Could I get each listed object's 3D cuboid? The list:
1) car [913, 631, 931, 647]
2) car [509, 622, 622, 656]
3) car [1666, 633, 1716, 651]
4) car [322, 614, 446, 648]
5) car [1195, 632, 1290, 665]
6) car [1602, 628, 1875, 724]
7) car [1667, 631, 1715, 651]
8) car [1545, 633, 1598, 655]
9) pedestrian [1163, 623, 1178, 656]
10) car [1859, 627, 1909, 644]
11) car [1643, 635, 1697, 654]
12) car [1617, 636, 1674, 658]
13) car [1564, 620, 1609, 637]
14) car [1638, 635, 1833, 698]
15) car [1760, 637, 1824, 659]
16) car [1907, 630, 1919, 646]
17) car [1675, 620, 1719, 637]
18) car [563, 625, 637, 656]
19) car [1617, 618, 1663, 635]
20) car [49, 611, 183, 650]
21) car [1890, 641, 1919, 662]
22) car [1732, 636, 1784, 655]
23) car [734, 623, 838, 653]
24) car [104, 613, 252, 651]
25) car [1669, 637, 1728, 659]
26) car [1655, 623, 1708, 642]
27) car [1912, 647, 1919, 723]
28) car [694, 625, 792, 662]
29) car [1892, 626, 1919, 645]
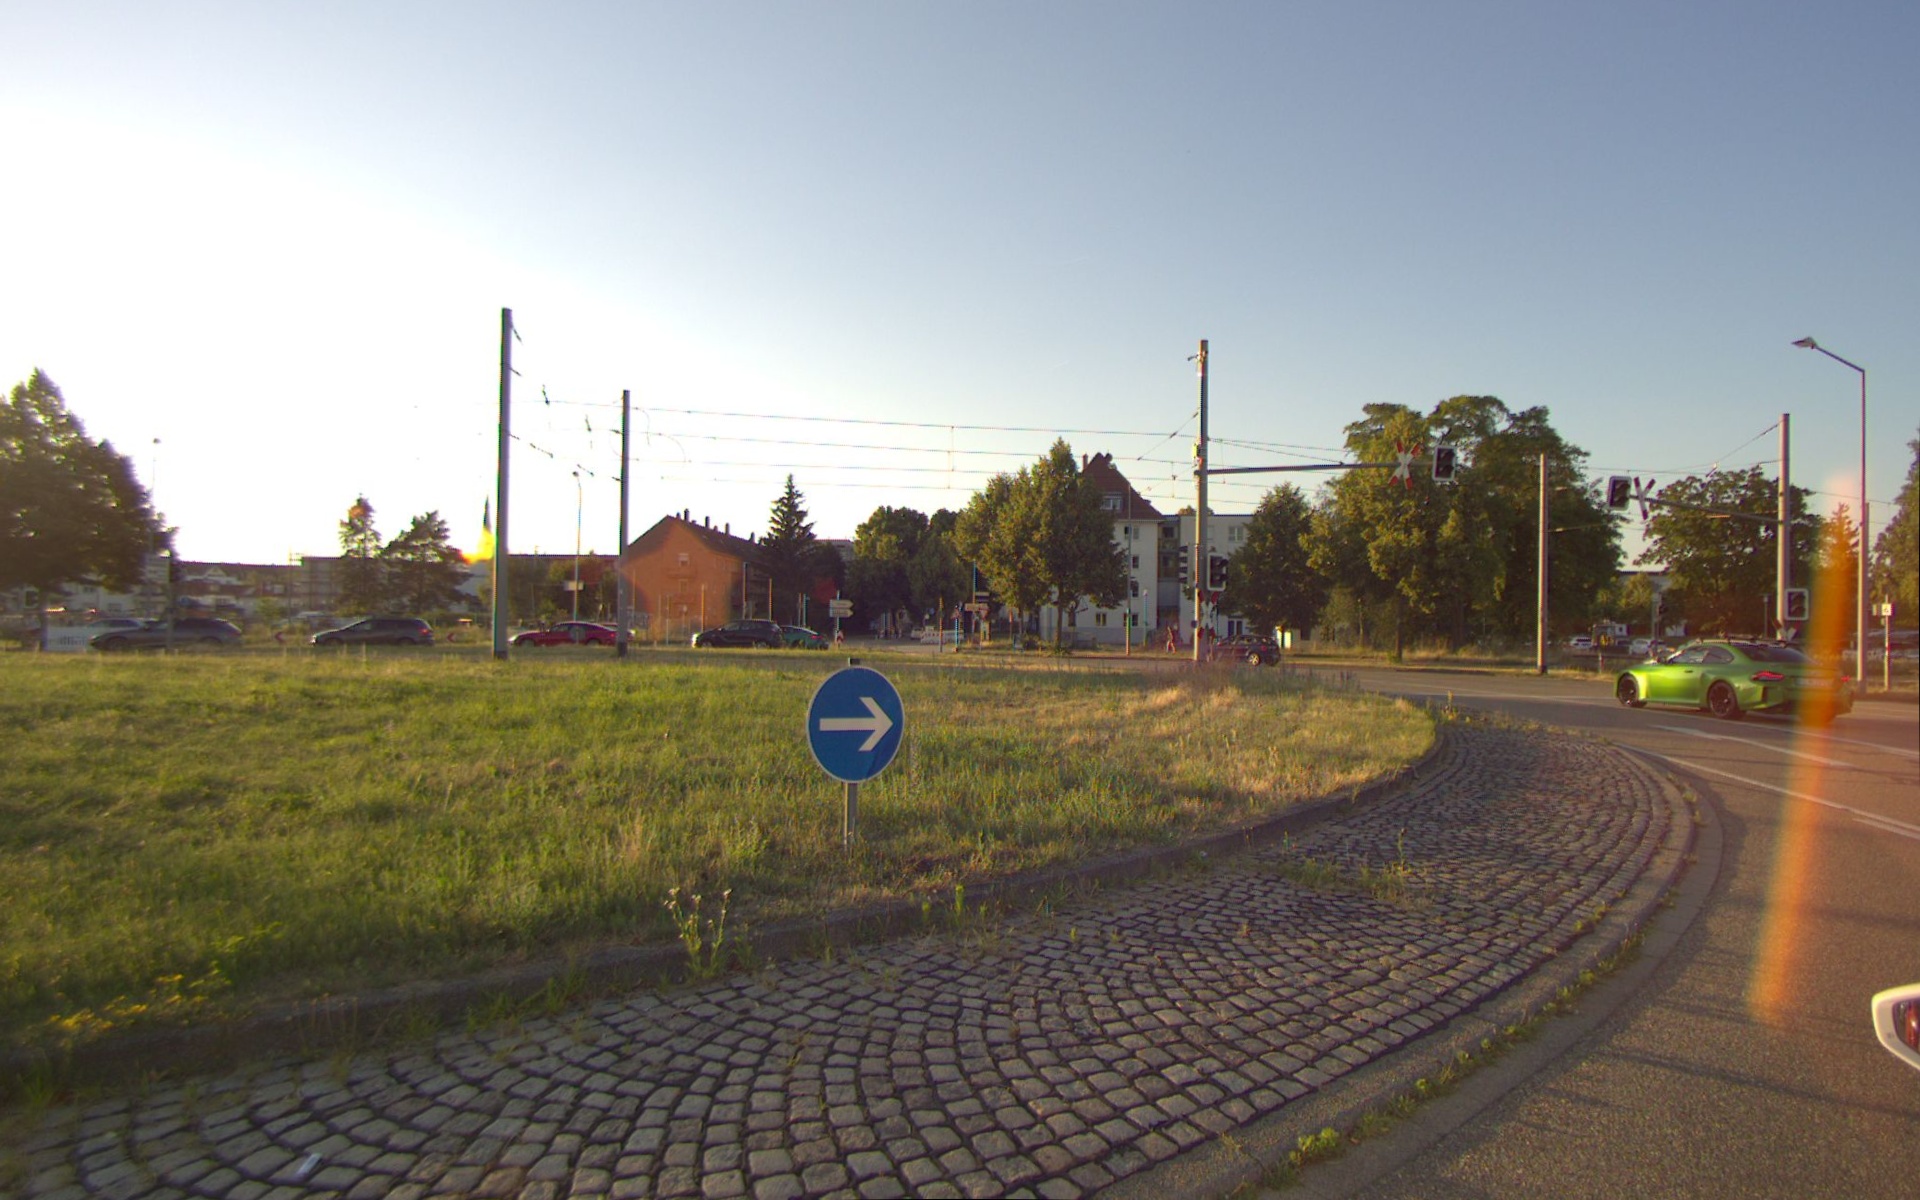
[{"bbox_3d":[-4.499,4.604,119.495,1.960,1.840,4.001,1,-1,1],"label":"car"},{"bbox_3d":[-17.572,1.740,44.945,4.419,1.410,1.891,1,-1,-12],"label":"car"},{"bbox_3d":[73.155,4.185,100.569,3.934,1.684,1.994,0,-1,35],"label":"car"},{"bbox_3d":[-24.307,1.315,42.562,4.323,1.394,1.989,1,-1,-24],"label":"car"},{"bbox_3d":[13.105,2.268,46.782,1.682,1.372,3.950,-3,-1,-43],"label":"car"},{"bbox_3d":[14.918,1.370,19.637,1.960,1.600,4.487,1,-1,2],"label":"car"},{"bbox_3d":[75.758,4.226,104.189,3.934,2.040,1.994,0,-1,35],"label":"car"},{"bbox_3d":[49.408,3.542,81.222,1.960,1.625,4.002,1,-1,3],"label":"car"},{"bbox_3d":[12.805,2.400,61.105,0.614,1.918,0.662,2,0,-35],"label":"pedestrian"},{"bbox_3d":[108.026,4.125,117.442,3.919,1.840,2.001,1,-1,5],"label":"car"},{"bbox_3d":[69.204,4.327,97.925,3.919,1.684,1.904,1,-1,5],"label":"car"},{"bbox_3d":[54.750,3.700,80.330,1.960,1.625,4.002,1,-1,3],"label":"car"},{"bbox_3d":[79.573,3.650,127.617,4.507,2.040,2.000,1,-1,0],"label":"car"},{"bbox_3d":[23.259,1.935,30.371,1.965,1.659,4.517,1,-1,-11],"label":"car"},{"bbox_3d":[66.362,3.786,80.163,1.960,1.625,4.002,1,-1,3],"label":"car"},{"bbox_3d":[105.578,4.108,108.713,1.971,1.728,3.979,1,-1,-22],"label":"car"},{"bbox_3d":[93.198,3.587,127.024,4.033,2.040,2.001,1,-1,4],"label":"car"},{"bbox_3d":[-18.932,2.131,52.933,3.428,1.519,1.640,1,-1,-10],"label":"car"},{"bbox_3d":[86.247,3.381,127.433,4.505,2.040,2.001,1,-1,5],"label":"car"},{"bbox_3d":[-40.144,1.437,47.857,4.623,1.728,2.000,1,-1,-1],"label":"car"},{"bbox_3d":[76.346,4.085,79.468,1.960,1.625,4.002,1,-1,3],"label":"car"},{"bbox_3d":[77.340,4.416,97.408,3.938,1.684,1.894,0,-1,39],"label":"car"},{"bbox_3d":[-8.608,1.864,49.897,4.638,1.389,2.001,1,-1,10],"label":"car"},{"bbox_3d":[-30.671,1.256,39.561,4.299,1.394,1.985,1,-1,-29],"label":"car"},{"bbox_3d":[59.509,3.847,81.031,1.960,1.625,4.002,1,-1,3],"label":"car"},{"bbox_3d":[80.222,3.644,111.733,4.507,2.040,2.000,1,-1,0],"label":"car"},{"bbox_3d":[19.552,1.627,17.424,1.849,1.483,4.673,1,-1,3],"label":"car"},{"bbox_3d":[-9.852,1.953,45.767,3.919,1.605,1.897,1,-1,9],"label":"car"},{"bbox_3d":[107.446,4.025,112.590,3.919,2.040,2.001,1,-1,11],"label":"car"}]
